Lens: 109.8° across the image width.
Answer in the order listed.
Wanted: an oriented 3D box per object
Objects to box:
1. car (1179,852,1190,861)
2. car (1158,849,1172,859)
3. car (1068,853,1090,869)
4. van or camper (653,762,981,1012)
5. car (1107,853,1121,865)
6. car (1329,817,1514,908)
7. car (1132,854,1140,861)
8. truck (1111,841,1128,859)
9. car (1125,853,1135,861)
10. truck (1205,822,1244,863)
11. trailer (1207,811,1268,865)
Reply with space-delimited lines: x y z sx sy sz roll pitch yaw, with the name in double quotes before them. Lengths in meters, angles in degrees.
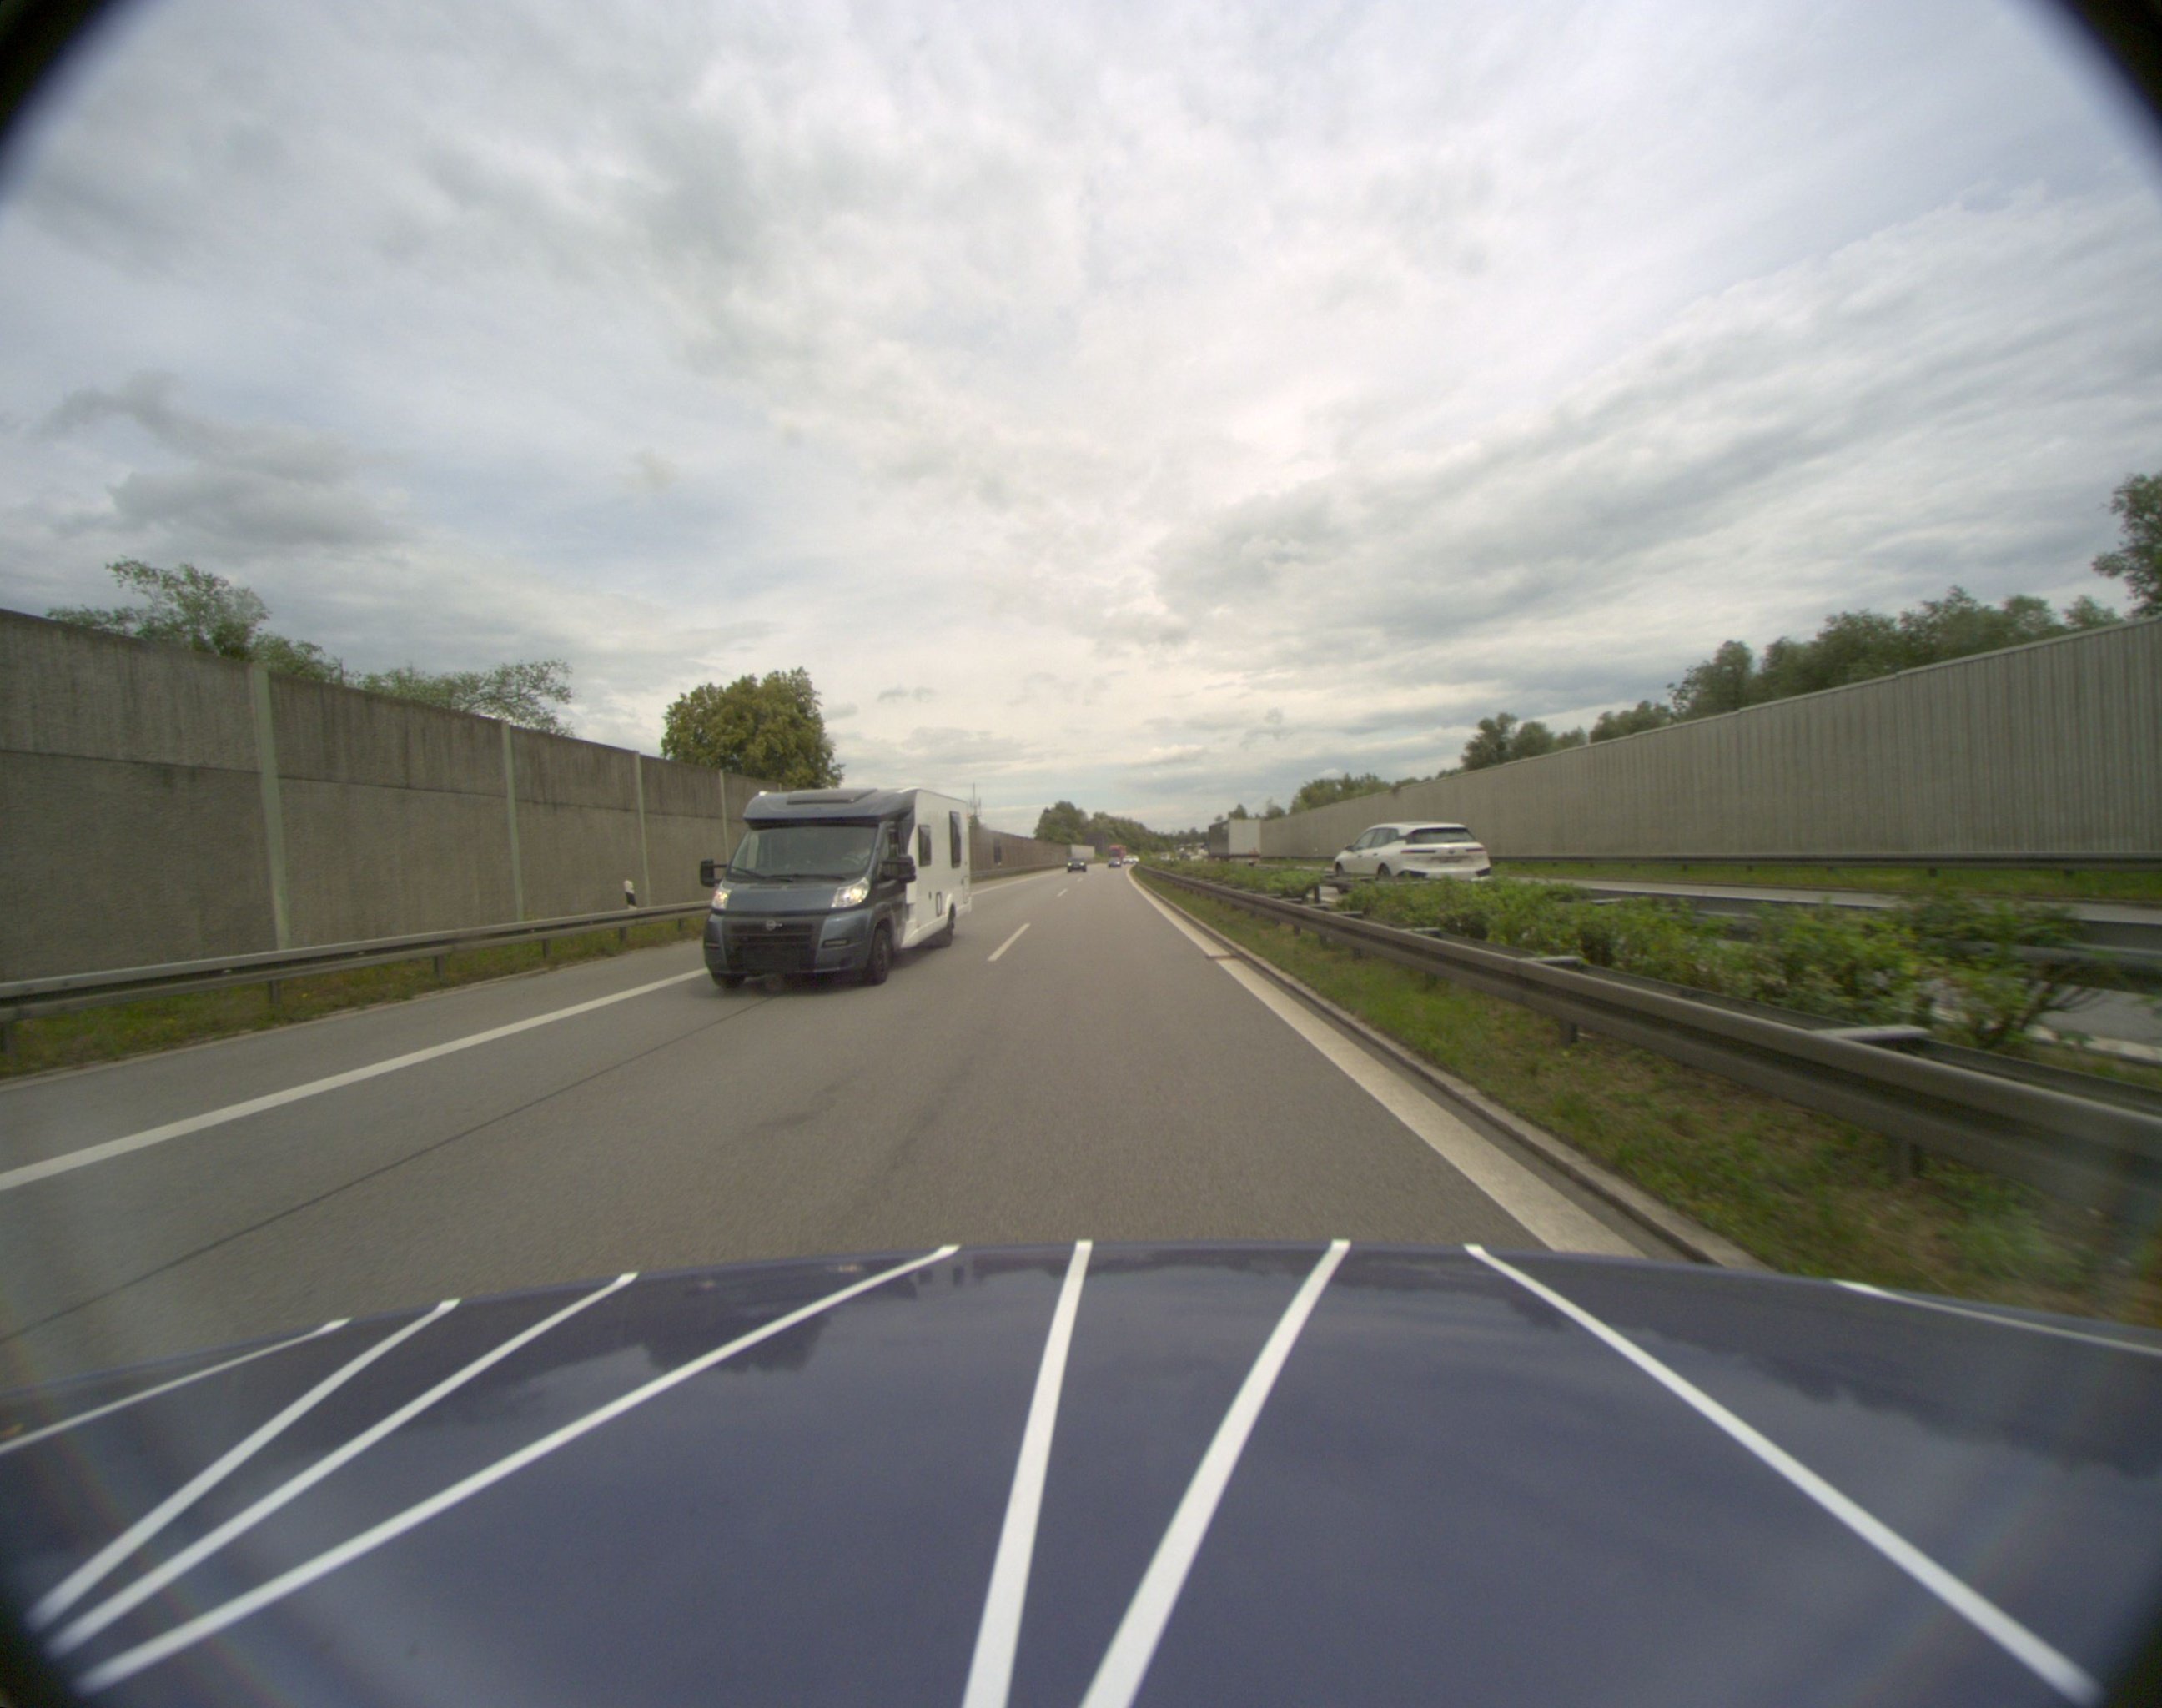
"car" 18.931 0.410 138.875 1.719 1.632 4.706 -2 0 6
"car" 13.632 0.023 123.875 1.935 1.539 4.568 -2 0 4
"car" -0.188 0.743 78.978 1.889 1.608 4.001 -1 0 4
"van or camper" -3.410 0.371 12.044 2.435 2.681 7.226 -2 0 1
"car" 4.658 0.740 106.527 1.889 1.608 4.001 -1 0 4
"car" 7.338 0.155 17.058 1.969 1.660 4.924 -3 0 1
"car" 13.139 0.790 181.343 1.888 1.608 4.002 -1 0 6
"truck" 9.154 -0.935 179.796 2.932 4.068 11.349 -2 0 8
"car" 9.654 0.566 150.411 1.889 1.608 4.001 -1 0 4
"truck" 14.047 -1.095 74.555 2.880 3.836 6.076 -2 0 3
"trailer" 13.726 -1.298 67.977 2.988 4.215 14.181 -2 0 3
